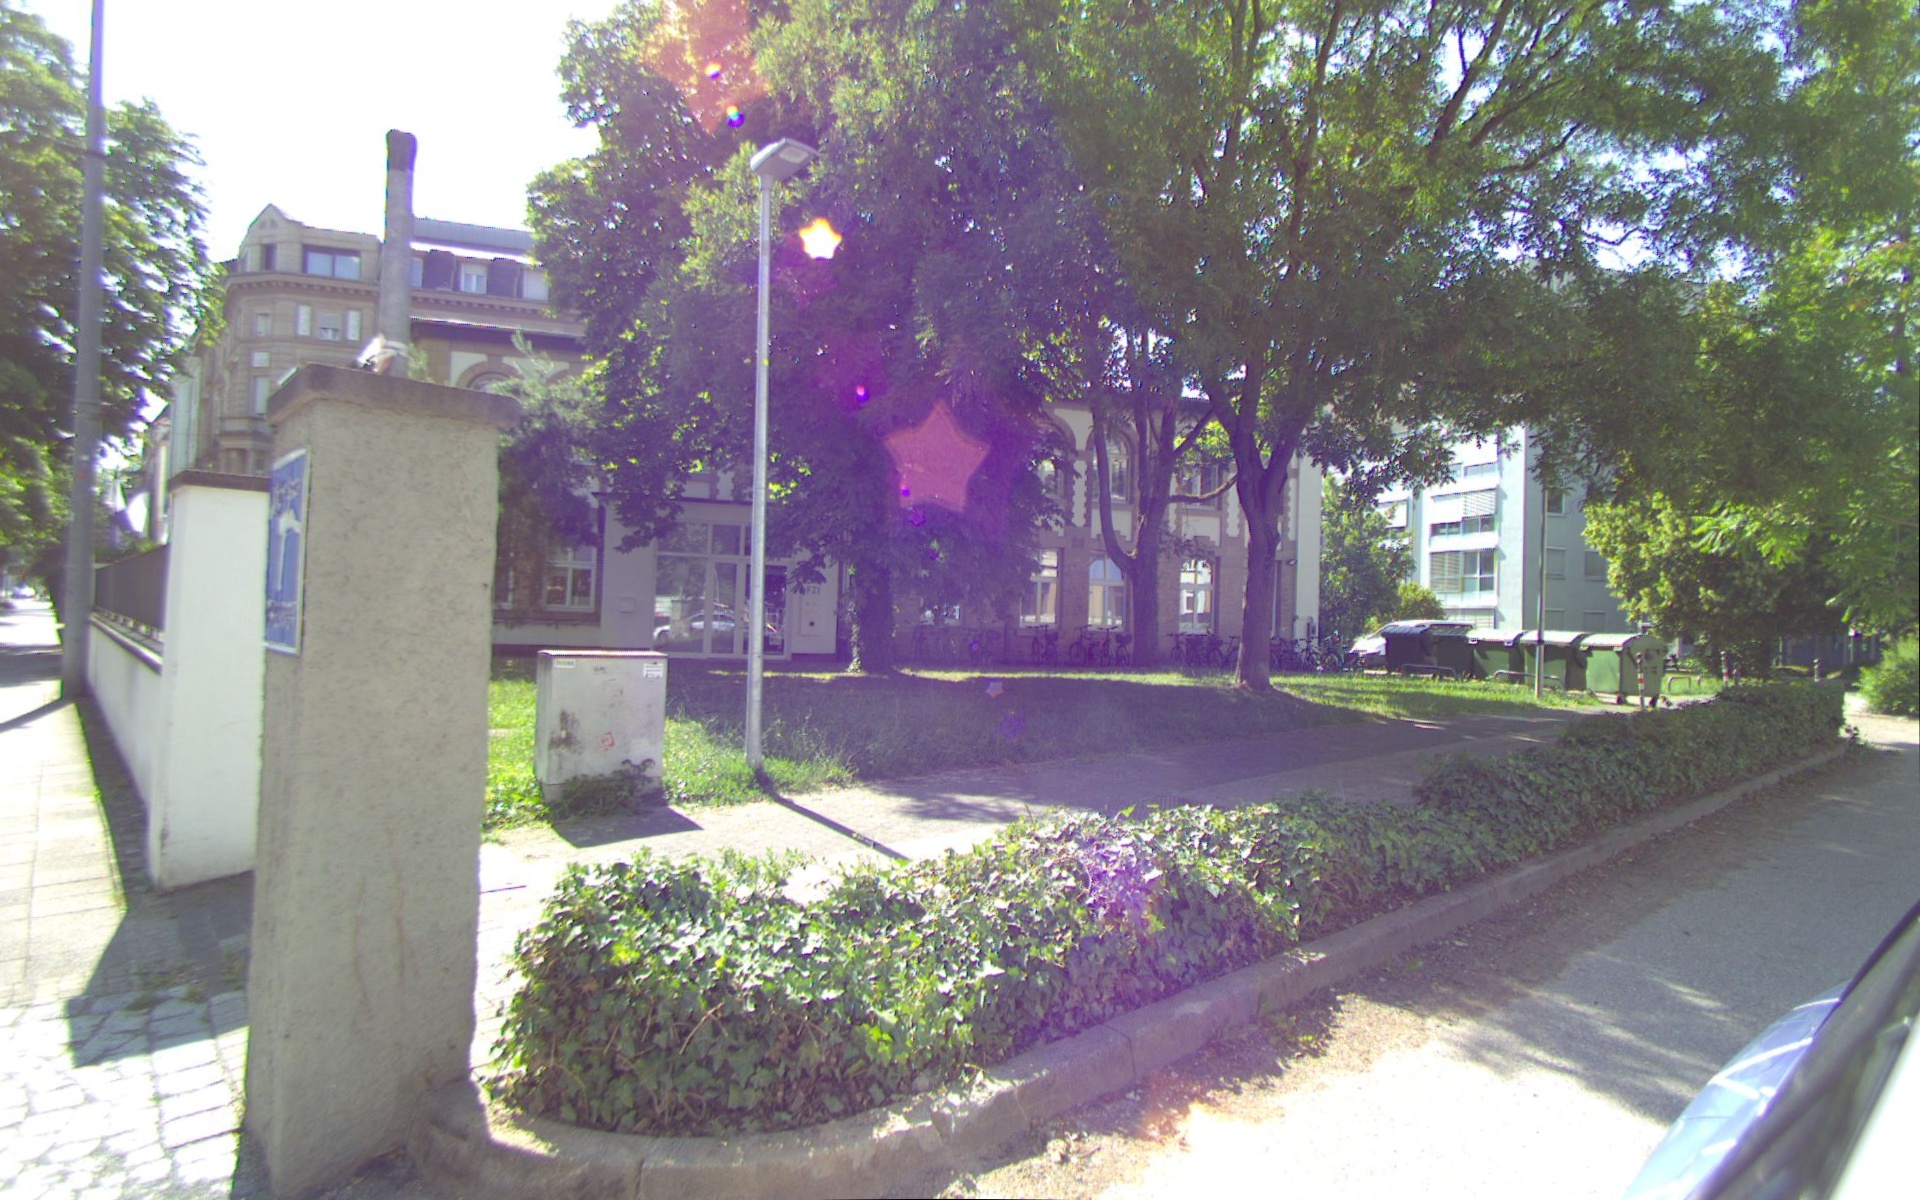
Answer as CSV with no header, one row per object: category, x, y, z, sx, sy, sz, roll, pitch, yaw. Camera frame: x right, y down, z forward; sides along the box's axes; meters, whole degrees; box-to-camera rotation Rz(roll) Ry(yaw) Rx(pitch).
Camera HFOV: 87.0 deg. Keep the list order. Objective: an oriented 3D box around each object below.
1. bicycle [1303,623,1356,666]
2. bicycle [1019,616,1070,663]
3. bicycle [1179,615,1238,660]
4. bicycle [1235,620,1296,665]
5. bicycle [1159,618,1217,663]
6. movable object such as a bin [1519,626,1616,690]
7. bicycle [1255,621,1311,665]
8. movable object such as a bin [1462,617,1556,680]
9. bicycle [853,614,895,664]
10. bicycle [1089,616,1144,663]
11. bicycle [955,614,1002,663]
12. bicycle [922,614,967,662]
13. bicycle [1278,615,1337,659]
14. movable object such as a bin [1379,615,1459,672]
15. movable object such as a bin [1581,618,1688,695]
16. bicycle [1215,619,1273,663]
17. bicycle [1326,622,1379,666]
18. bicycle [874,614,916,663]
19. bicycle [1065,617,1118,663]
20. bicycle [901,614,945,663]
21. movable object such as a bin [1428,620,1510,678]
bicycle,10.582,1.260,29.032,0.496,1.176,1.808,2,-1,-12
bicycle,2.204,1.019,26.759,0.575,1.176,2.107,2,-1,-17
bicycle,6.862,1.022,28.077,0.575,1.176,2.107,2,-1,-17
bicycle,8.596,1.179,28.561,0.575,1.176,2.107,2,-1,-17
bicycle,6.248,1.089,27.832,0.575,1.176,2.107,2,-1,-17
movable object such as a bin,13.252,1.259,22.116,1.190,1.317,1.358,2,-1,-20
bicycle,9.138,1.210,28.704,0.484,1.176,1.918,2,-1,-17
movable object such as a bin,12.754,1.118,23.542,1.190,1.379,1.505,2,-1,-20
bicycle,-2.154,0.938,25.005,0.575,1.176,2.107,2,-1,-17
bicycle,4.207,1.050,27.362,0.575,1.176,2.107,2,-1,-17
bicycle,0.467,0.980,26.321,0.575,1.176,2.107,2,-1,-17
bicycle,-0.424,0.960,26.119,0.575,1.176,2.107,2,-1,-17
bicycle,9.935,1.045,29.002,0.600,1.176,1.855,2,-1,-17
movable object such as a bin,12.027,1.133,26.547,1.224,1.427,1.439,2,-1,-21
movable object such as a bin,13.773,1.128,20.711,1.191,1.481,1.393,1,-1,-5
bicycle,7.916,1.124,28.281,0.575,1.176,1.925,2,-1,-17
bicycle,11.209,1.246,28.963,0.546,1.176,1.947,1,-1,-7
bicycle,-1.667,0.946,25.616,0.575,1.176,2.107,2,-1,-17
bicycle,3.491,1.048,27.108,0.575,1.176,2.107,2,-1,-17
bicycle,-0.972,0.955,25.822,0.575,1.176,2.107,2,-1,-17
movable object such as a bin,12.583,1.198,25.070,1.190,1.366,1.355,2,-1,-20
